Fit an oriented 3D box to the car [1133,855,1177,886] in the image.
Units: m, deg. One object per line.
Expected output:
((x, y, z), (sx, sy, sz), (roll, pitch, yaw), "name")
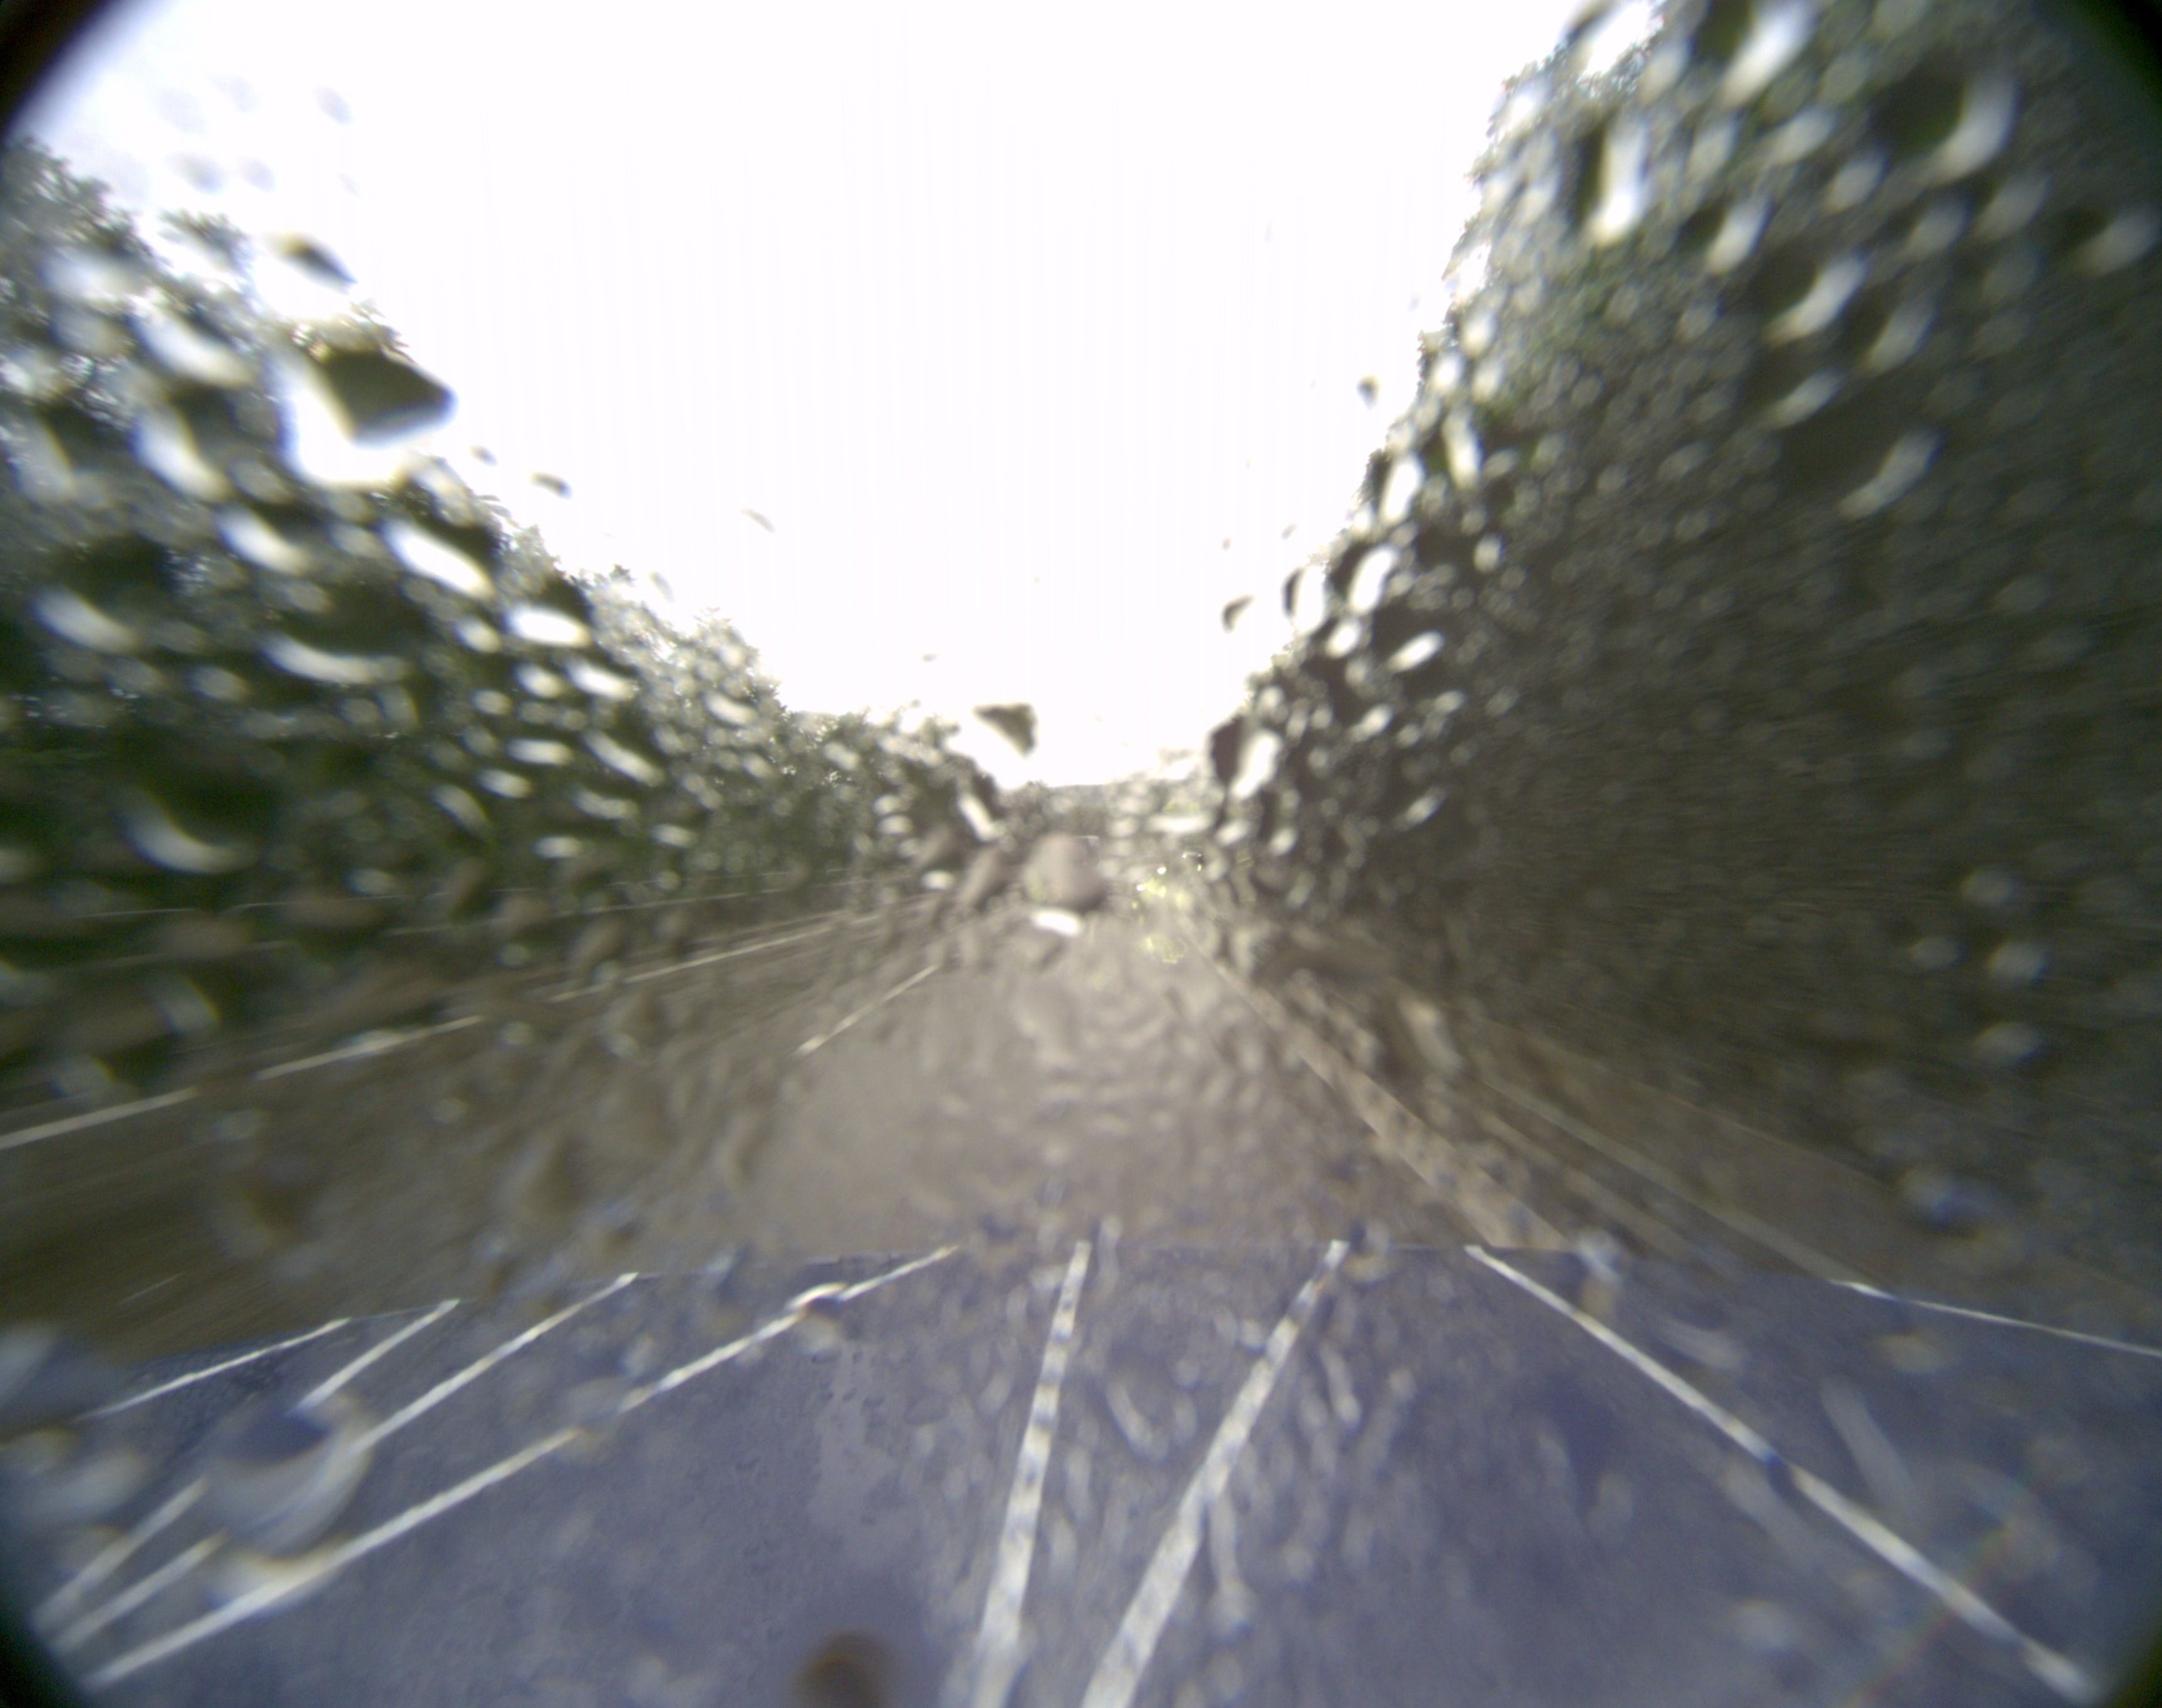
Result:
((3.967, 0.845, 40.024), (1.826, 1.375, 4.003), (-4, 0, 12), "car")

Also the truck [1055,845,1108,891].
((0.154, 0.783, 45.053), (2.107, 2.481, 8.008), (0, 0, 8), "truck")

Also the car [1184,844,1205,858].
((12.826, -0.324, 85.762), (1.825, 1.375, 4.004), (-4, 0, 14), "car")

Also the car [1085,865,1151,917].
((1.198, 1.073, 23.393), (1.827, 1.375, 4.001), (-2, 0, 5), "car")
